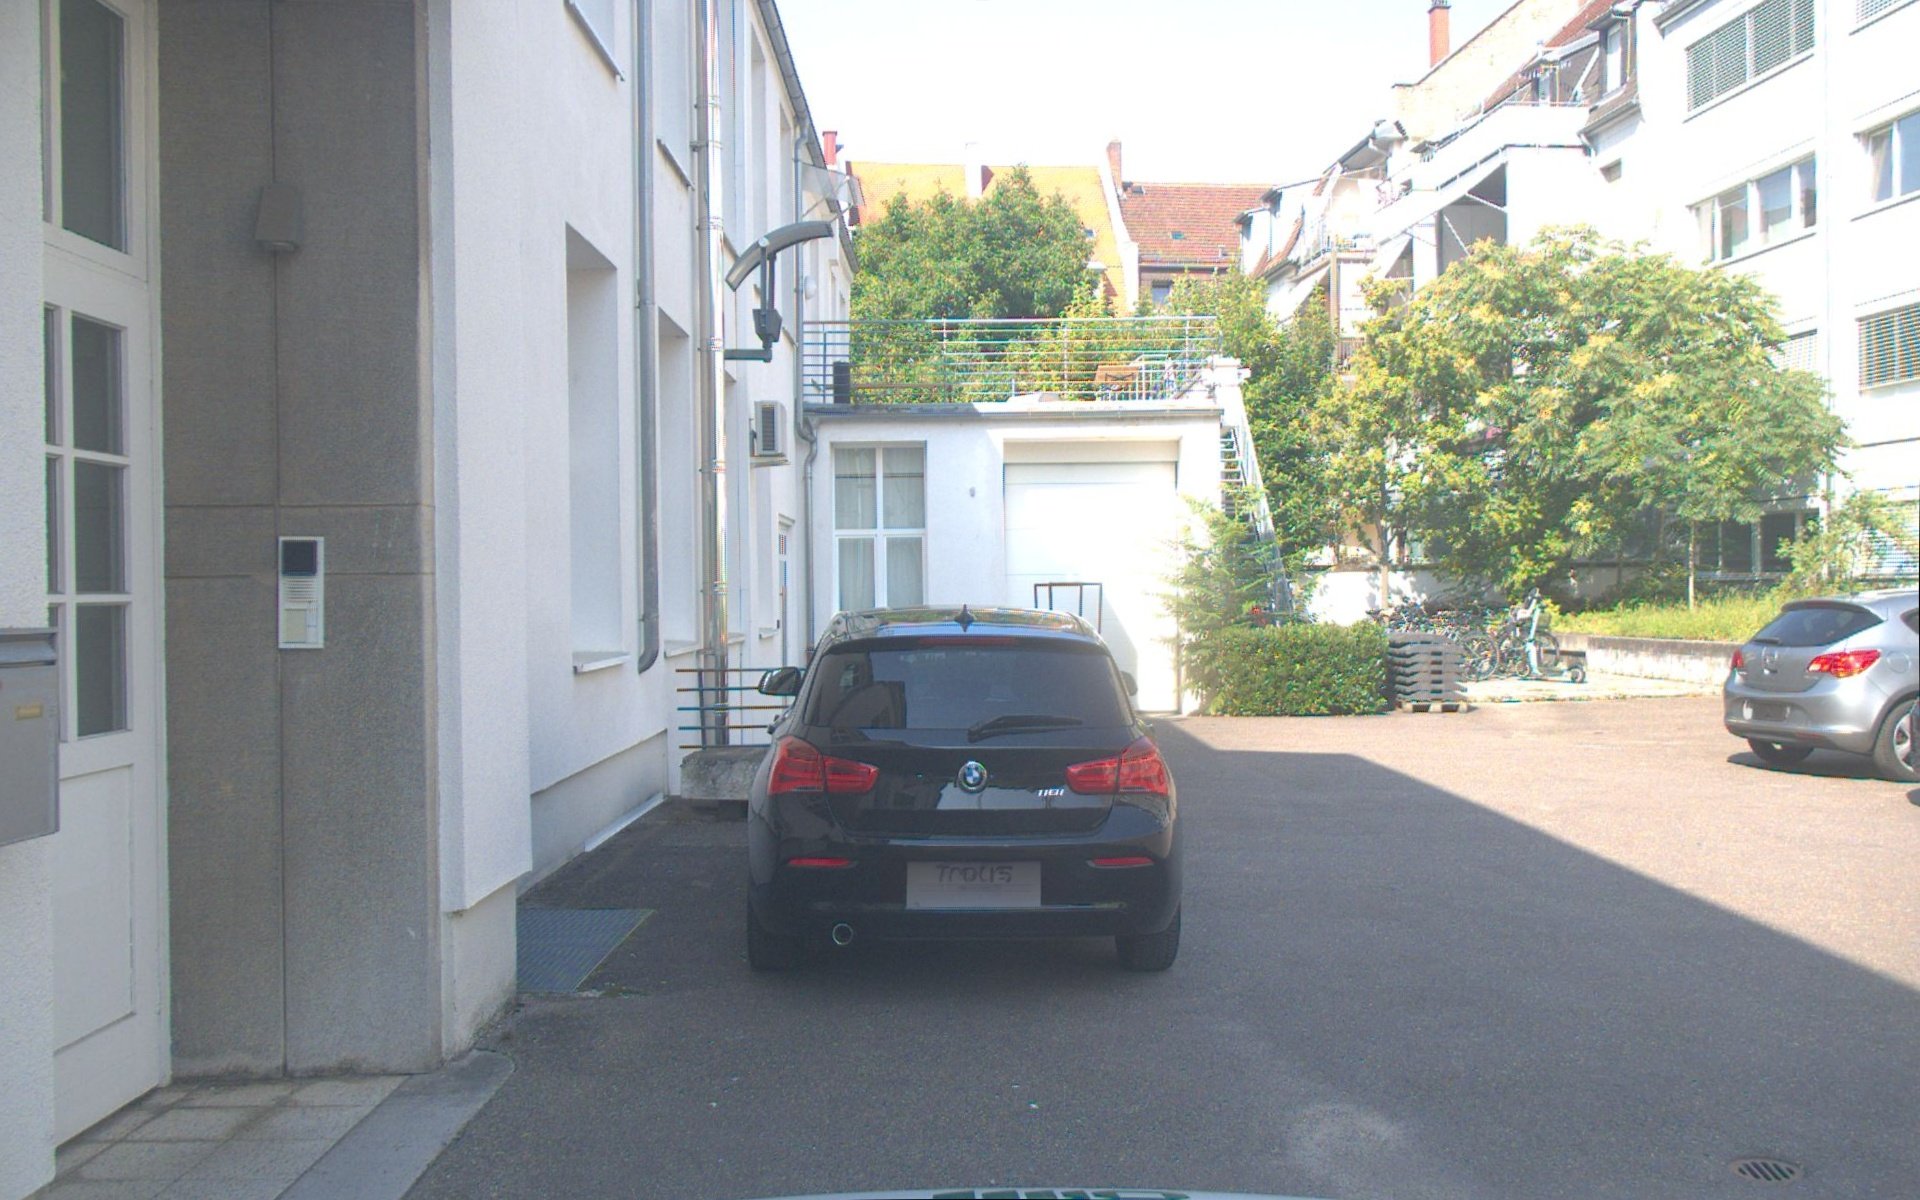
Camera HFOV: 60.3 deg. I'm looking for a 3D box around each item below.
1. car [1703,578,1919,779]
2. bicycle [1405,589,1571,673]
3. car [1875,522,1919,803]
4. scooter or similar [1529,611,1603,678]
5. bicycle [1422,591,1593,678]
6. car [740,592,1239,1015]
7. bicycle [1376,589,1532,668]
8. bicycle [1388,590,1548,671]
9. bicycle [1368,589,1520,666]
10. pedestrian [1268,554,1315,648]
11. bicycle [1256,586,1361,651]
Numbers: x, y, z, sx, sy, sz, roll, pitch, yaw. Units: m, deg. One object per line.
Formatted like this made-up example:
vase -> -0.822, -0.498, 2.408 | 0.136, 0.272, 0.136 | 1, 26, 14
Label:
car -> 8.432, 0.562, 13.850 | 3.830, 1.491, 1.657 | -1, 1, -14
bicycle -> 8.043, 0.465, 25.226 | 2.361, 1.268, 0.526 | 0, 0, 0
car -> 8.633, 0.377, 10.949 | 4.256, 1.891, 1.910 | -1, 1, -10
scooter or similar -> 8.809, 0.642, 24.053 | 0.356, 0.940, 0.986 | 0, 0, -37
bicycle -> 8.098, 0.508, 24.498 | 2.361, 1.268, 0.526 | 0, 0, 0
car -> 0.018, 0.700, 7.880 | 1.757, 1.453, 4.134 | 0, 1, -3
bicycle -> 7.949, 0.450, 26.657 | 2.361, 1.268, 0.526 | 0, 0, 0
bicycle -> 7.968, 0.471, 25.992 | 2.361, 1.268, 0.526 | 0, 0, 0
bicycle -> 7.979, 0.446, 27.319 | 2.361, 1.268, 0.526 | 0, 0, 0
pedestrian -> 6.458, 0.014, 32.244 | 0.599, 1.802, 0.857 | 0, 0, -15
bicycle -> 6.743, 0.347, 31.992 | 1.954, 1.163, 0.488 | -2, 1, -14
